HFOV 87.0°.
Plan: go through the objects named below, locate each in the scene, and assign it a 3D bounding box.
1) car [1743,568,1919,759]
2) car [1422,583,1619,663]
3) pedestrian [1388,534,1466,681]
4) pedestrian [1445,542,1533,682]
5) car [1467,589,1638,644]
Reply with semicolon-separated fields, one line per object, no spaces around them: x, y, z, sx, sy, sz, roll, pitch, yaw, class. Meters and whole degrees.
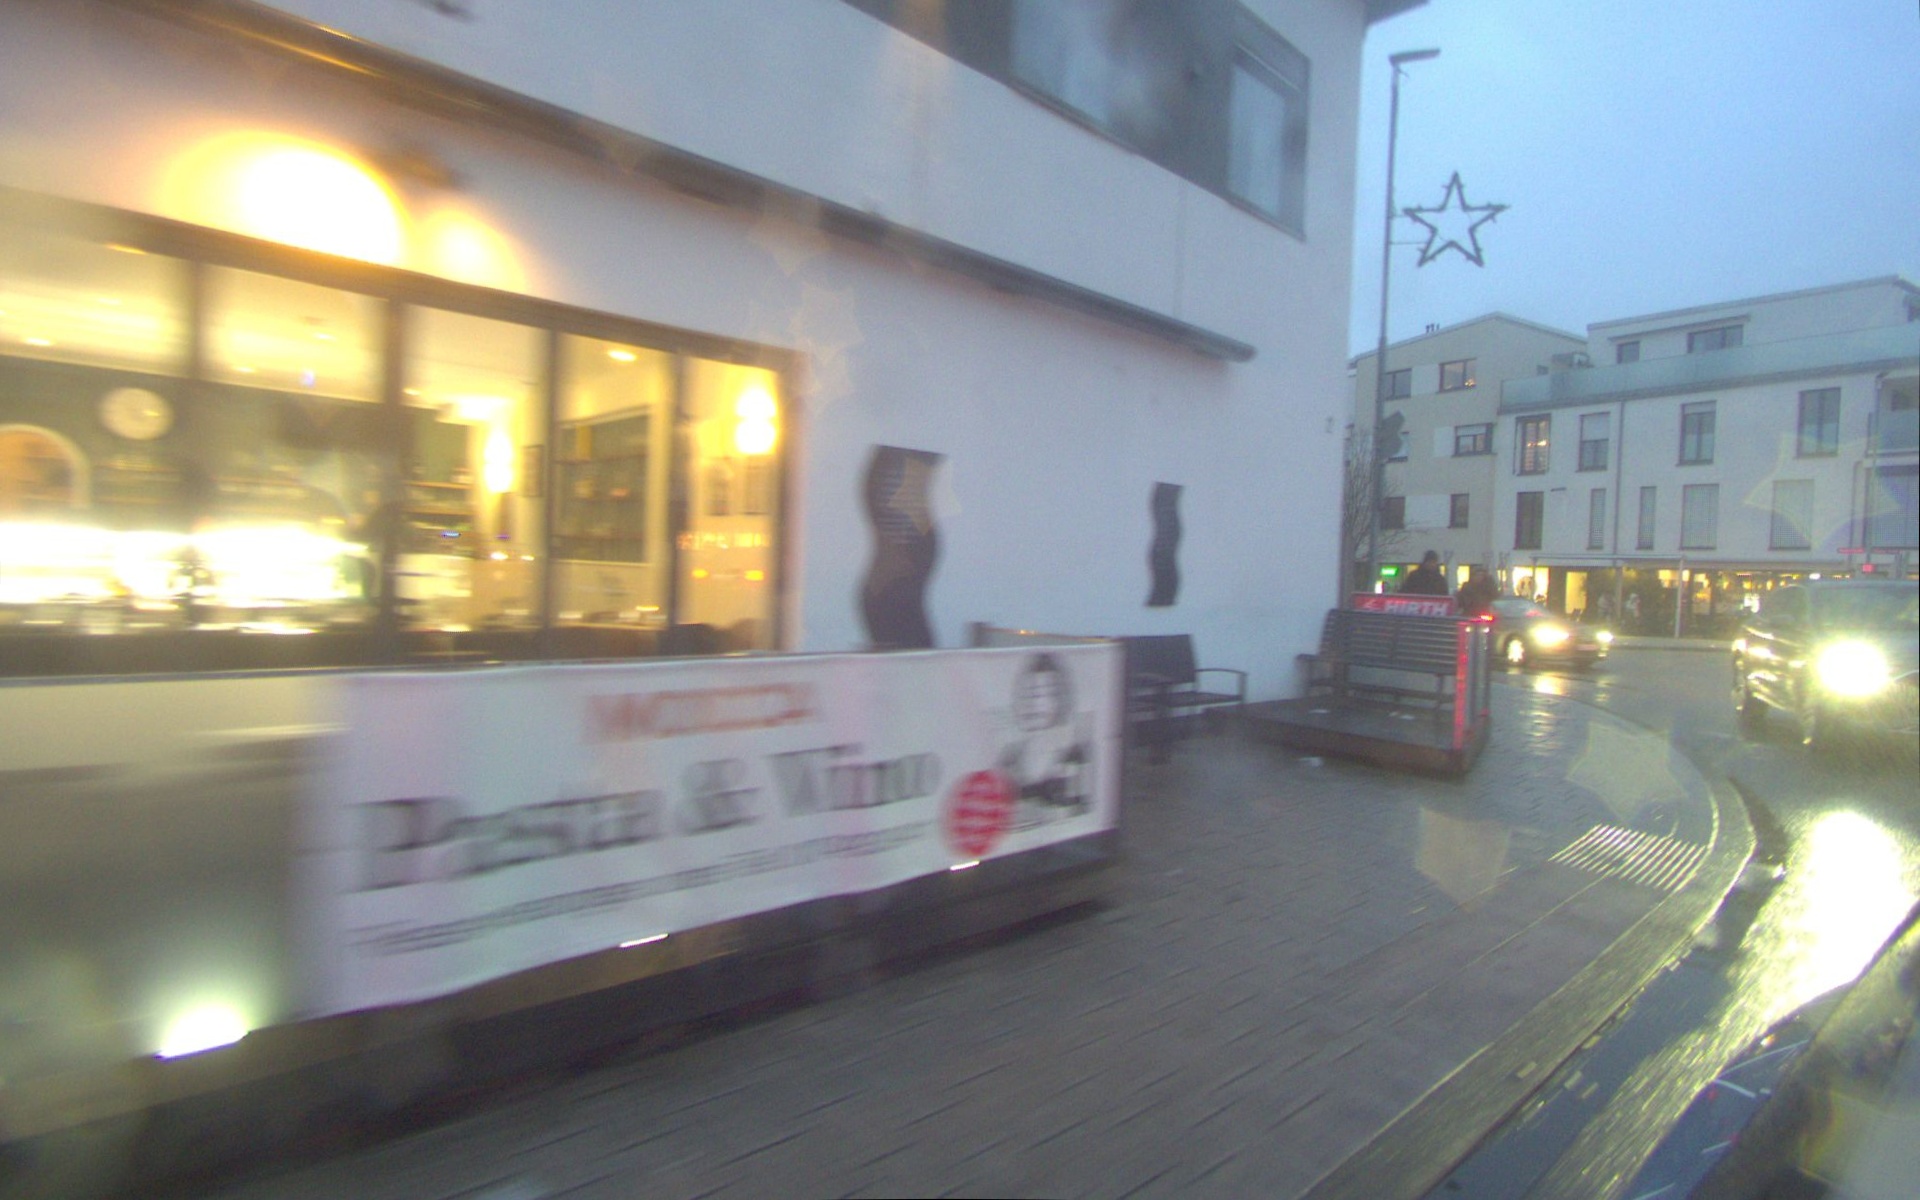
9.414;0.537;10.138;1.943;1.605;4.065;2;1;31;car
11.620;0.408;21.320;1.729;1.498;4.023;0;1;-3;car
6.206;0.088;13.489;0.697;1.889;0.791;0;1;3;pedestrian
6.954;0.148;13.342;0.754;1.783;0.791;0;1;3;pedestrian
17.409;0.441;29.825;4.246;1.462;1.543;1;2;35;car
